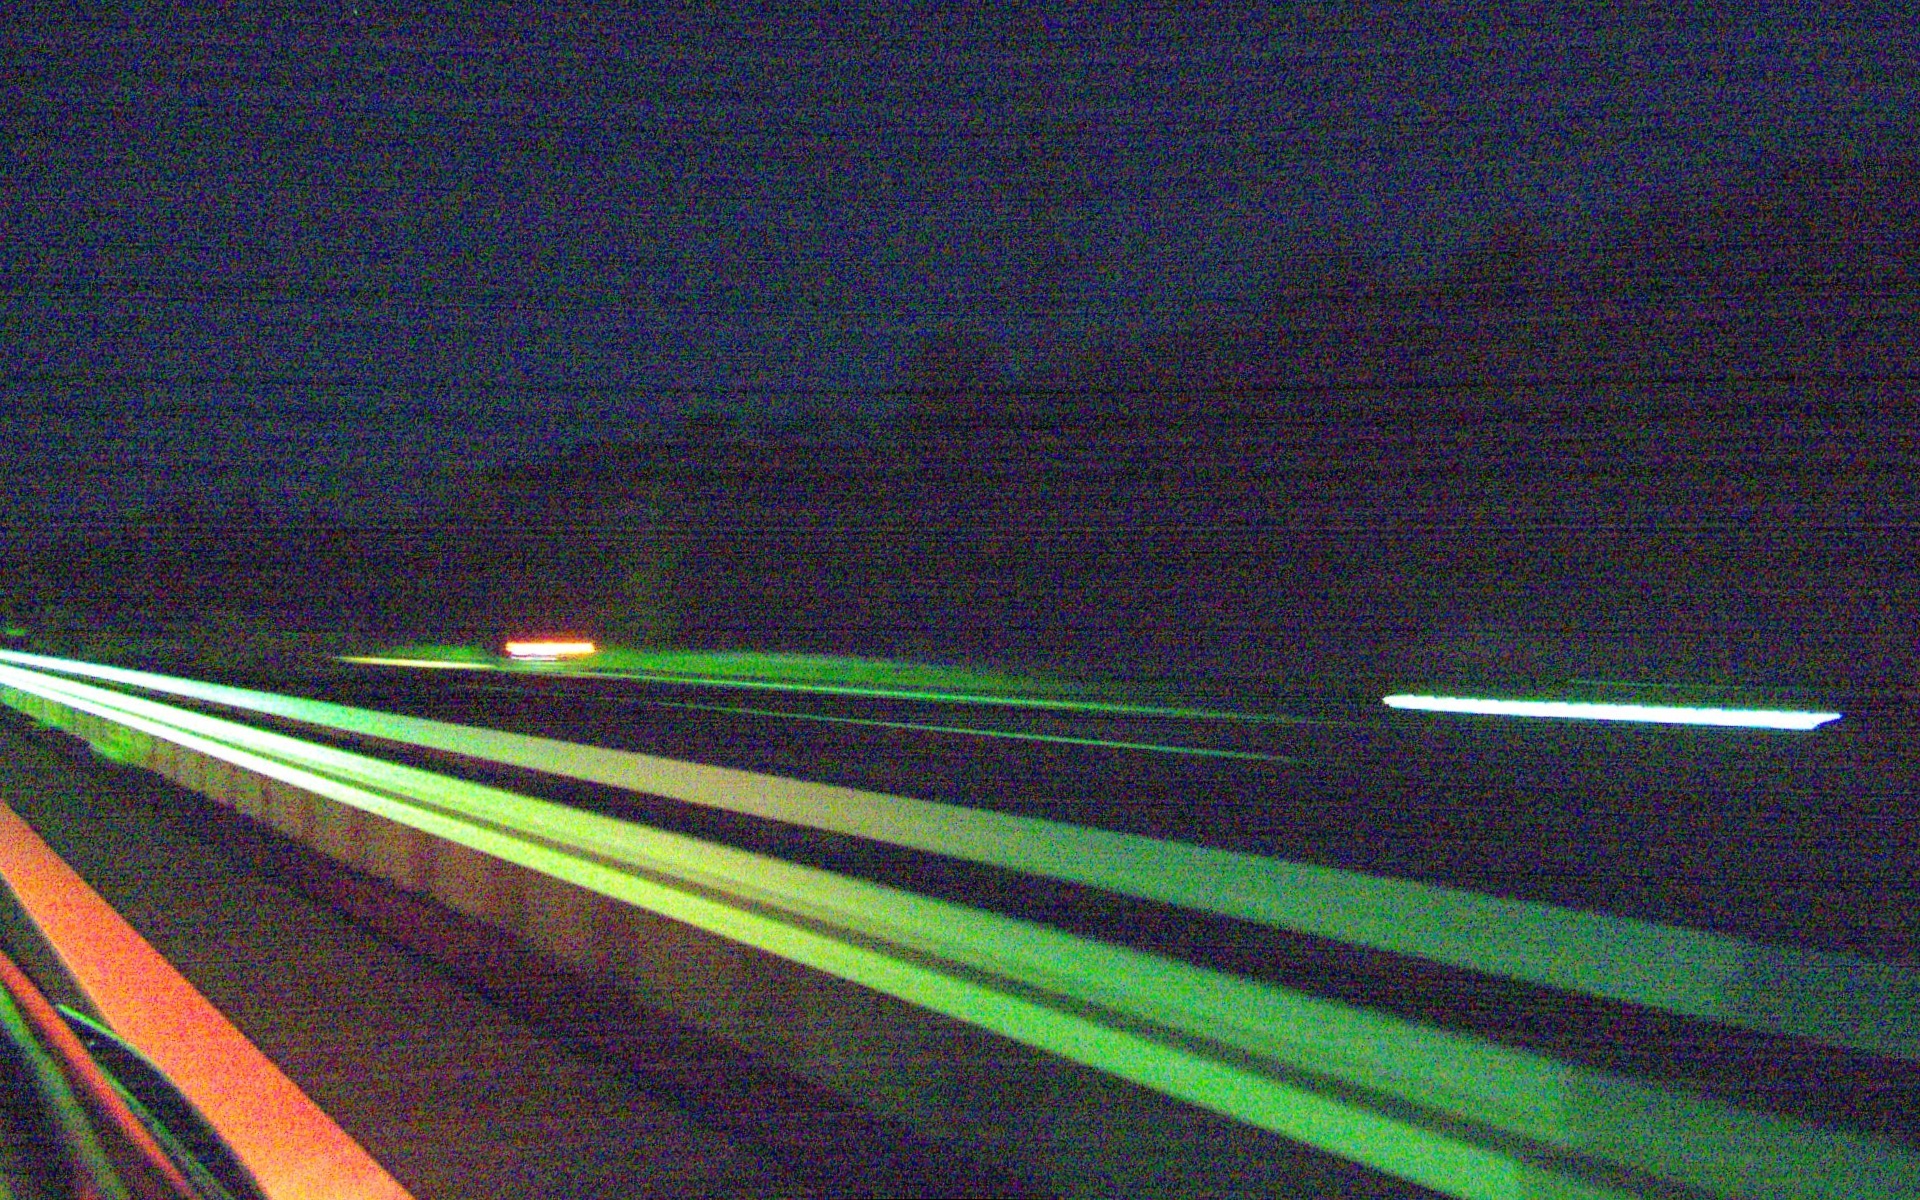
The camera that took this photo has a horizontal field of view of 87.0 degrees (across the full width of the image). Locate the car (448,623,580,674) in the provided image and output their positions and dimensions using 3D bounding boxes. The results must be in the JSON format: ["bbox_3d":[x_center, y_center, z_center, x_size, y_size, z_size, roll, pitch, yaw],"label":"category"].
[{"bbox_3d":[-14.793,1.588,33.434,5.002,1.563,1.973,-1,-5,41],"label":"car"}]

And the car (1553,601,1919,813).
[{"bbox_3d":[7.810,0.848,8.128,5.002,1.563,1.973,-1,-5,41],"label":"car"}]
